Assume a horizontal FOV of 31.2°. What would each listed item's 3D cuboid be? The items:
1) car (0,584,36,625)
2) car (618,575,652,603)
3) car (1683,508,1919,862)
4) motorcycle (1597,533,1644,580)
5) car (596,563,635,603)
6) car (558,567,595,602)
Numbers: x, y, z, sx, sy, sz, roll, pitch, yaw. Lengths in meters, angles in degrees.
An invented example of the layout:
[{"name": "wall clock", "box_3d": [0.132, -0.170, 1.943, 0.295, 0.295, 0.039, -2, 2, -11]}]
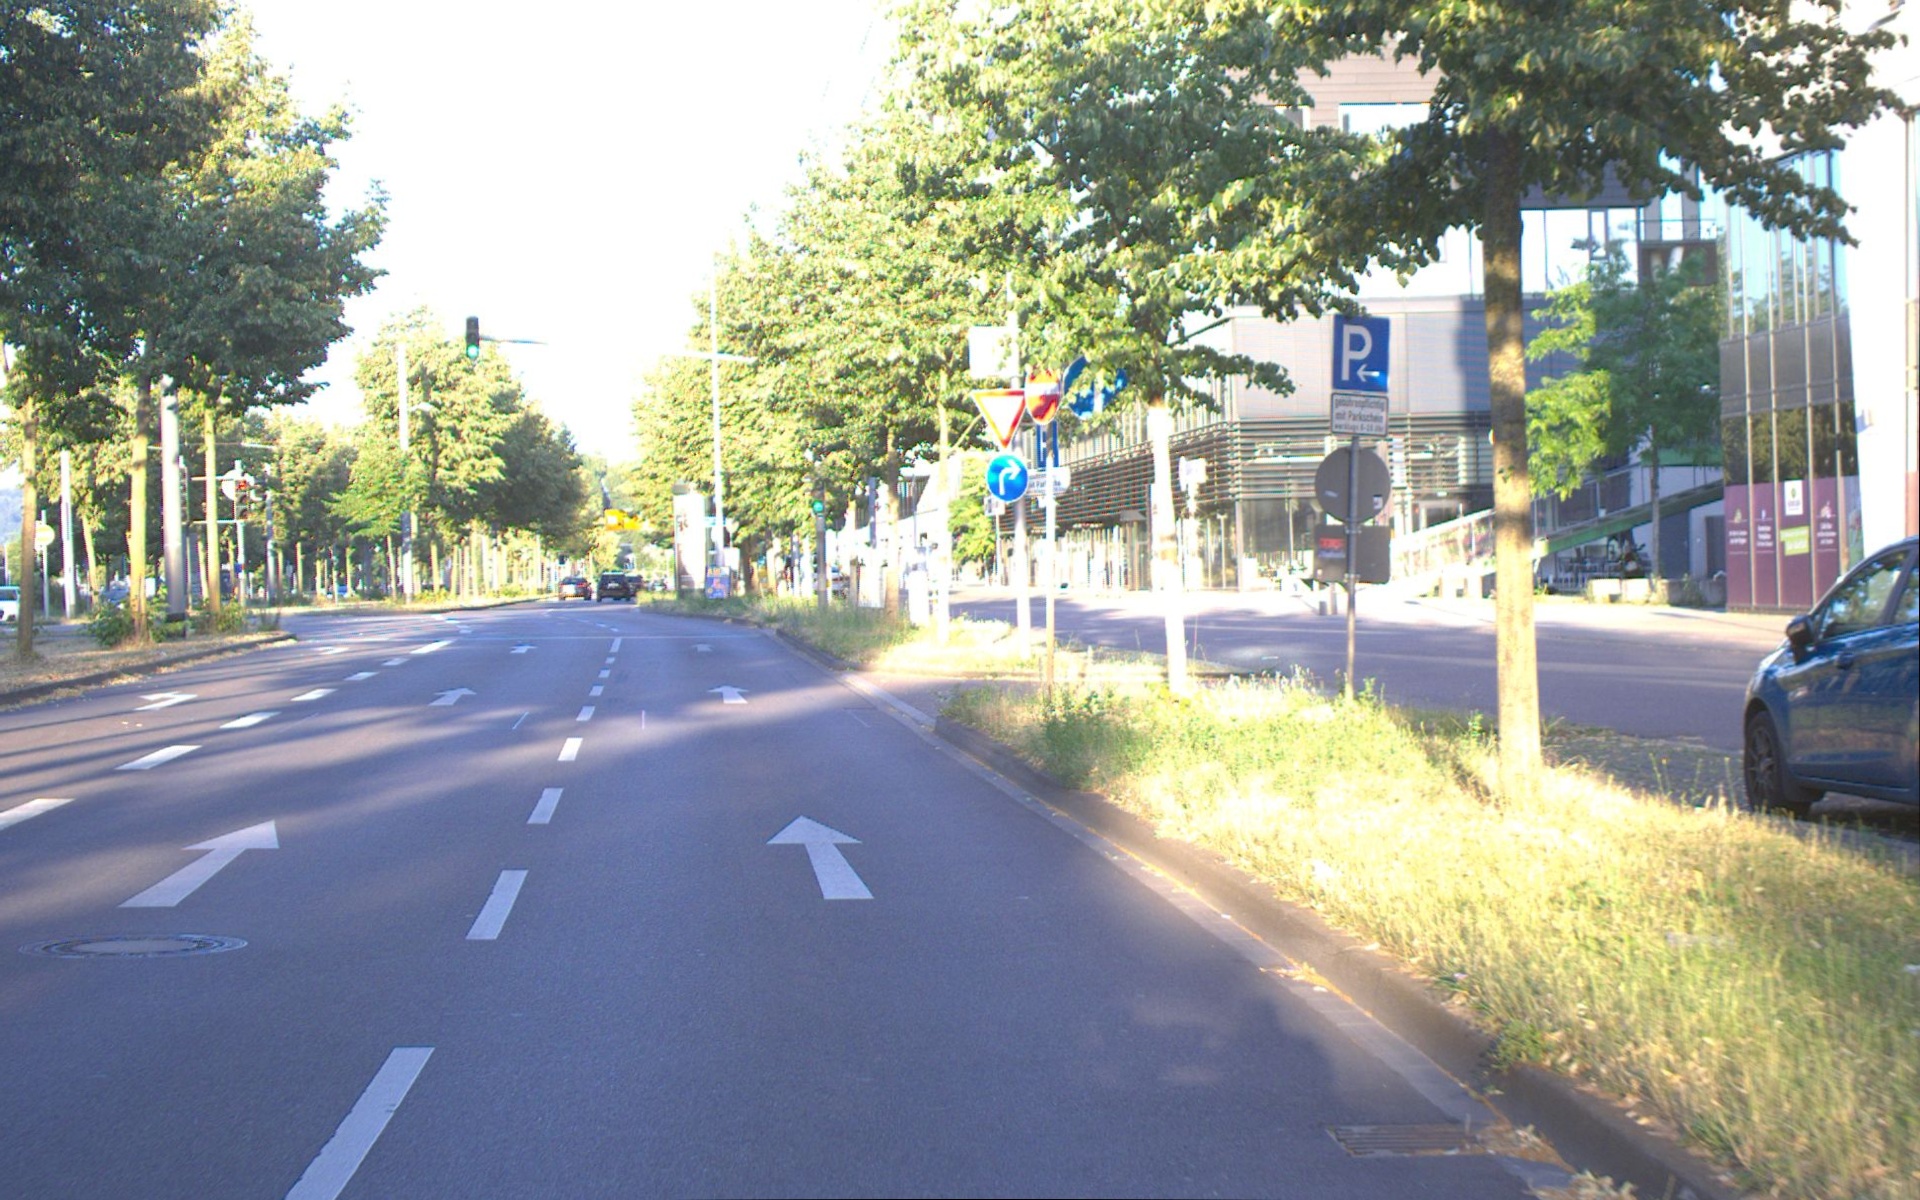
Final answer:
[{"name": "car", "box_3d": [-32.275, 0.154, 115.617, 1.786, 1.327, 3.672, -2, 1, -7]}, {"name": "car", "box_3d": [-19.309, -0.648, 204.132, 1.872, 1.568, 3.677, -1, 1, -4]}, {"name": "car", "box_3d": [4.876, 0.348, 16.103, 1.724, 1.524, 4.269, 0, 1, -5]}, {"name": "motorcycle", "box_3d": [15.655, -1.042, 81.521, 0.650, 1.090, 2.332, -2, 1, 0]}, {"name": "car", "box_3d": [-18.370, -0.906, 183.174, 1.993, 2.007, 4.001, -1, 1, -6]}, {"name": "car", "box_3d": [-22.807, -0.940, 204.496, 2.087, 2.007, 4.001, -1, 1, -6]}]
